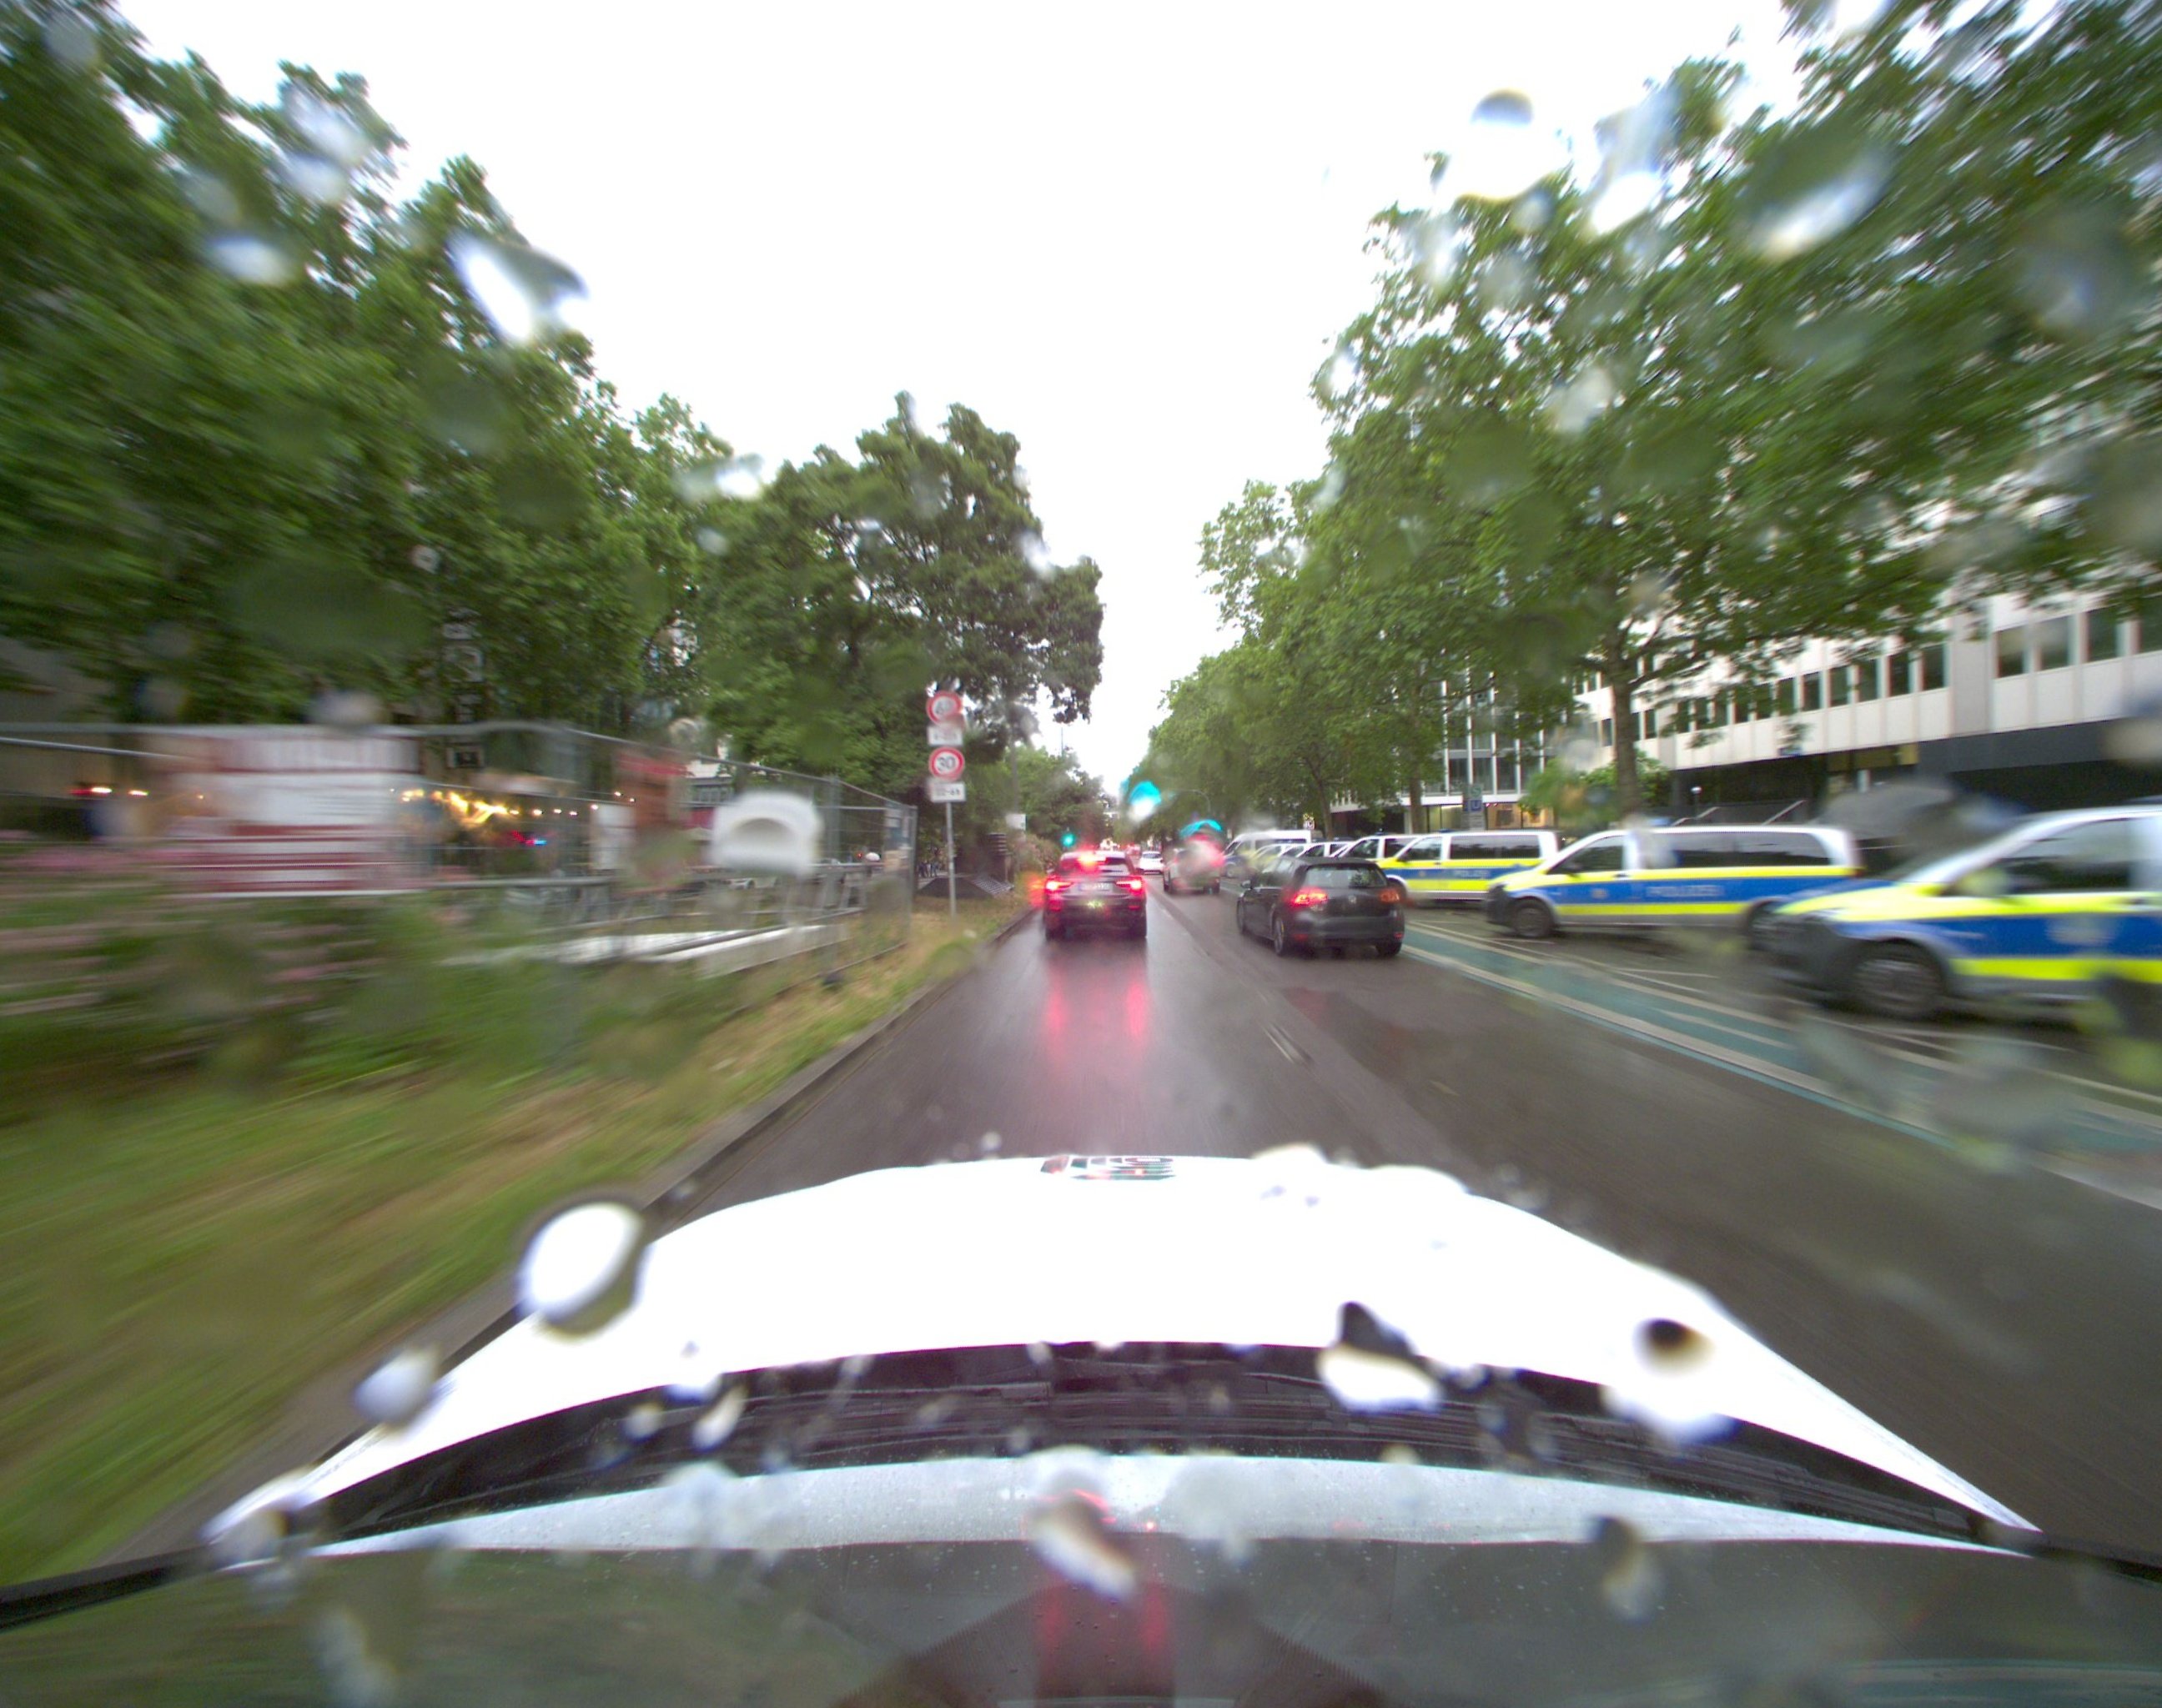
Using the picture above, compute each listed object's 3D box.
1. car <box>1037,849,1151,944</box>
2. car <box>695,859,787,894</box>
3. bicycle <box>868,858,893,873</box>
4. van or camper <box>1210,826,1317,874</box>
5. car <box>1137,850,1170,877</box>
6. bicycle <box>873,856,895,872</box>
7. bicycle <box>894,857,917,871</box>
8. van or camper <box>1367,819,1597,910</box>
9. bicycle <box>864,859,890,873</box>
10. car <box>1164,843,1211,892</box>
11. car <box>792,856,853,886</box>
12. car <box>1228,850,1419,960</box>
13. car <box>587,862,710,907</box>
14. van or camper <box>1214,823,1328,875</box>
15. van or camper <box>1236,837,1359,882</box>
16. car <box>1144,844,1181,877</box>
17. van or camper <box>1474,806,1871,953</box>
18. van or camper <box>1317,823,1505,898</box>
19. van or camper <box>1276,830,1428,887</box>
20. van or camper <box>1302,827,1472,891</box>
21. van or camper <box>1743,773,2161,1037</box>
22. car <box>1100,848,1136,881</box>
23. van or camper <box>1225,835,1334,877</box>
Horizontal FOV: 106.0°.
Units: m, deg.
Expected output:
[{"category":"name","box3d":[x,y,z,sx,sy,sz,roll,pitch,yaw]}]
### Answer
[{"category":"car","box3d":[0.346,0.695,15.841,1.855,1.532,4.531,-1,0,3]},{"category":"car","box3d":[-14.920,0.933,36.011,1.986,1.370,4.542,1,1,2]},{"category":"bicycle","box3d":[-15.999,0.919,64.936,1.842,1.098,0.613,-2,0,-6]},{"category":"van or camper","box3d":[10.728,-0.194,48.084,5.741,2.677,2.161,-1,0,39]},{"category":"car","box3d":[4.932,0.615,55.601,1.986,1.750,4.002,-2,0,2]},{"category":"bicycle","box3d":[-15.880,0.794,65.617,1.615,1.241,0.508,-2,0,-6]},{"category":"bicycle","box3d":[-15.162,0.839,70.339,1.841,1.136,0.565,-2,0,-5]},{"category":"van or camper","box3d":[9.827,0.248,20.161,4.792,1.998,1.880,-1,0,38]},{"category":"bicycle","box3d":[-16.019,0.951,64.031,1.839,0.979,0.566,-2,0,-1]},{"category":"car","box3d":[3.864,0.459,29.875,1.427,1.685,2.981,-2,0,2]},{"category":"car","box3d":[-14.708,0.904,46.542,1.987,1.509,4.517,-2,0,0]},{"category":"car","box3d":[3.628,0.671,12.958,1.760,1.412,3.998,-2,0,-1]},{"category":"car","box3d":[-15.246,1.028,29.040,1.818,1.394,4.486,-1,0,2]},{"category":"van or camper","box3d":[10.414,-0.217,44.960,5.736,2.680,2.013,-2,0,37]},{"category":"van or camper","box3d":[10.060,0.263,38.051,5.142,1.992,2.013,0,0,36]},{"category":"car","box3d":[4.669,0.329,47.076,1.815,1.750,4.002,-2,0,2]},{"category":"van or camper","box3d":[9.494,0.340,13.535,5.023,2.019,2.010,0,0,38]},{"category":"van or camper","box3d":[9.689,0.214,24.089,4.733,2.011,2.013,-1,0,38]},{"category":"van or camper","box3d":[10.272,0.174,31.086,5.042,2.025,2.119,-1,0,39]},{"category":"van or camper","box3d":[10.196,0.195,27.297,4.959,1.995,2.013,-2,0,34]},{"category":"van or camper","box3d":[8.804,0.376,6.926,4.884,1.992,2.015,-1,0,40]},{"category":"car","box3d":[1.873,0.495,41.588,1.715,1.577,3.963,-2,0,2]},{"category":"van or camper","box3d":[10.123,0.151,41.705,4.952,2.014,2.013,-2,-1,37]}]
